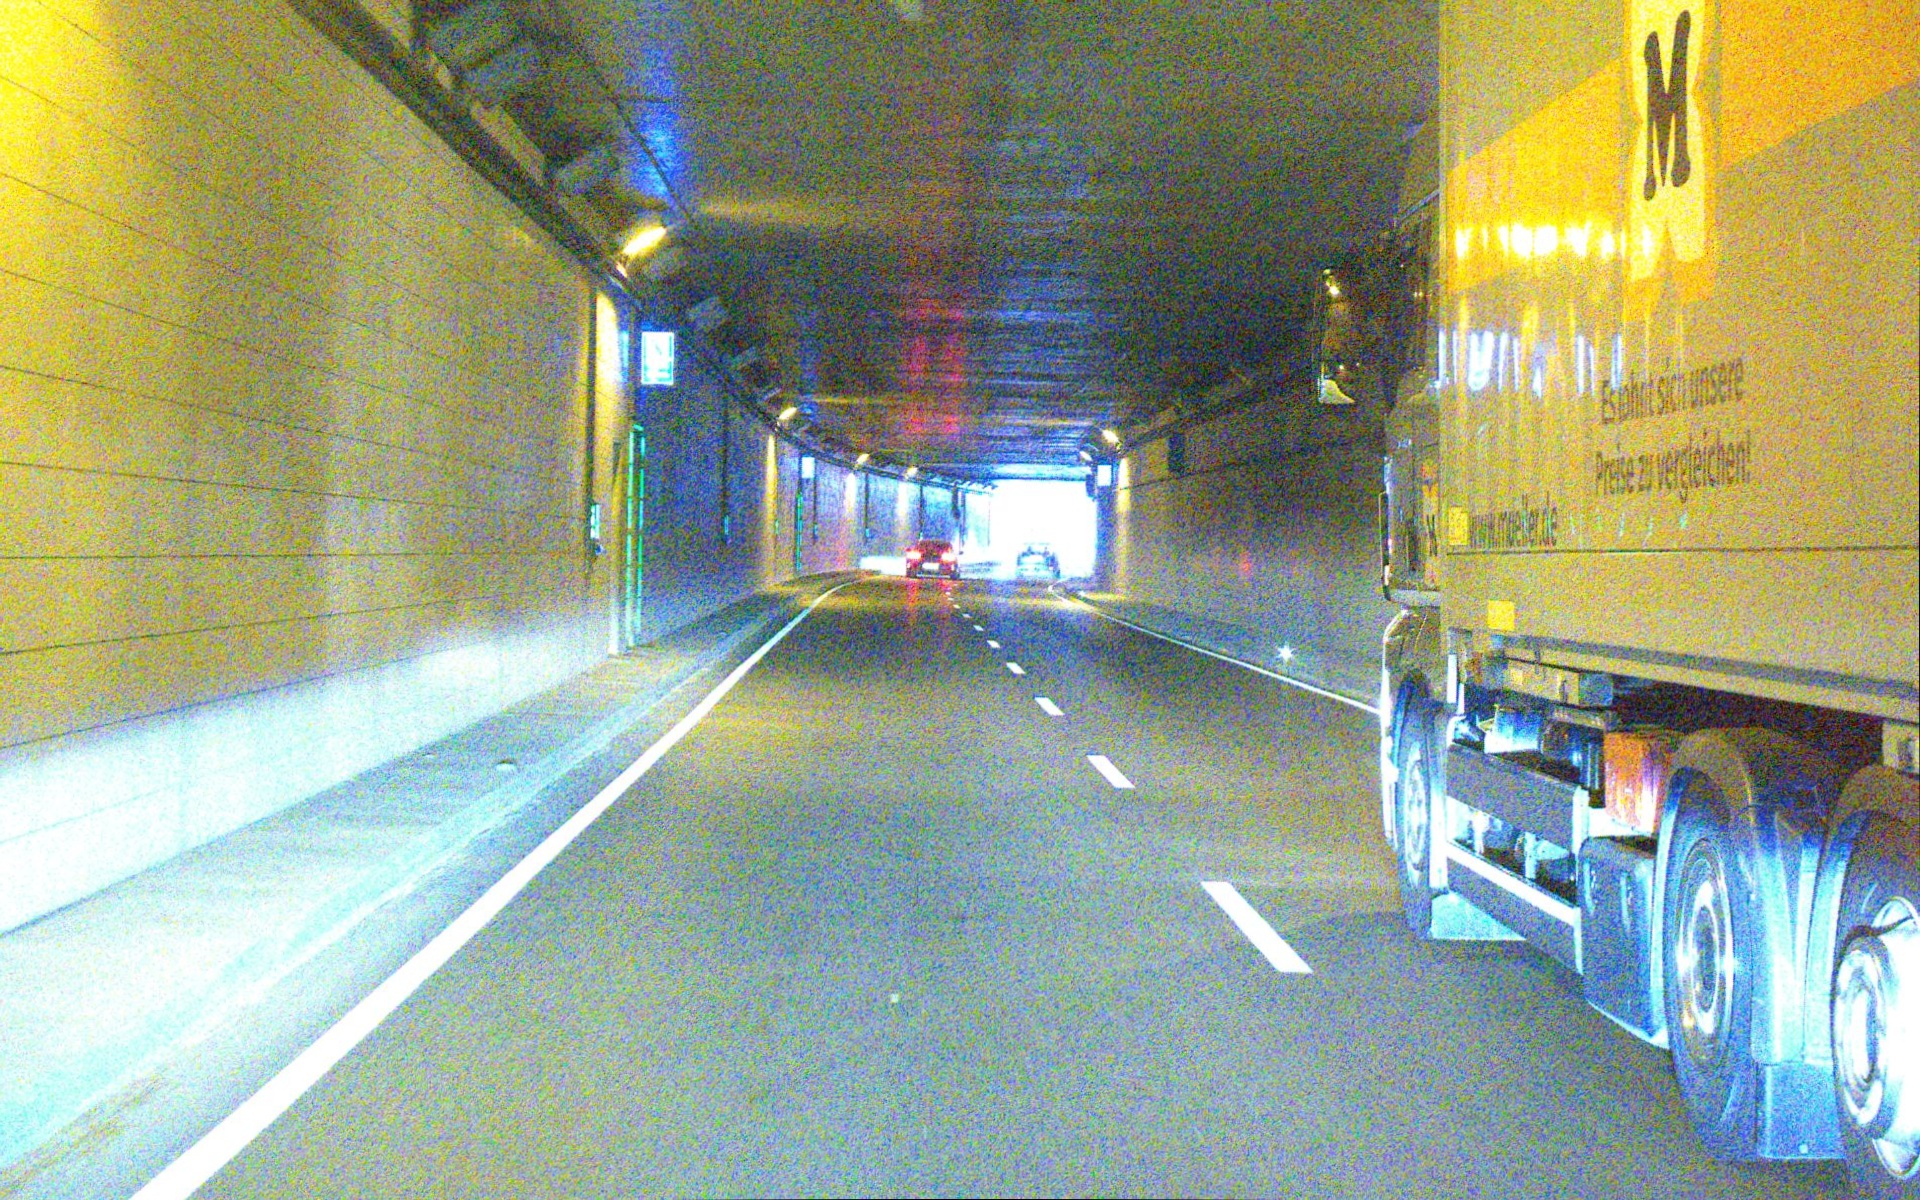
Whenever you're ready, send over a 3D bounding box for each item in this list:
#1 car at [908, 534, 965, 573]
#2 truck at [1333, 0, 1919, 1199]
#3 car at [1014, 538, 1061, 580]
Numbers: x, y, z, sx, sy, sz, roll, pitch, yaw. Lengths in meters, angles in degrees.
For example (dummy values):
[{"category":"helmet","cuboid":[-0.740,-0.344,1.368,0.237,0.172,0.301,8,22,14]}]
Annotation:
[{"category":"car","cuboid":[-0.832,-1.670,124.201,1.841,1.384,4.000,1,1,3]},{"category":"truck","cuboid":[3.120,-0.592,9.886,2.888,3.900,9.910,0,1,-1]},{"category":"car","cuboid":[3.224,-1.722,143.900,1.869,1.726,4.000,1,1,1]}]
